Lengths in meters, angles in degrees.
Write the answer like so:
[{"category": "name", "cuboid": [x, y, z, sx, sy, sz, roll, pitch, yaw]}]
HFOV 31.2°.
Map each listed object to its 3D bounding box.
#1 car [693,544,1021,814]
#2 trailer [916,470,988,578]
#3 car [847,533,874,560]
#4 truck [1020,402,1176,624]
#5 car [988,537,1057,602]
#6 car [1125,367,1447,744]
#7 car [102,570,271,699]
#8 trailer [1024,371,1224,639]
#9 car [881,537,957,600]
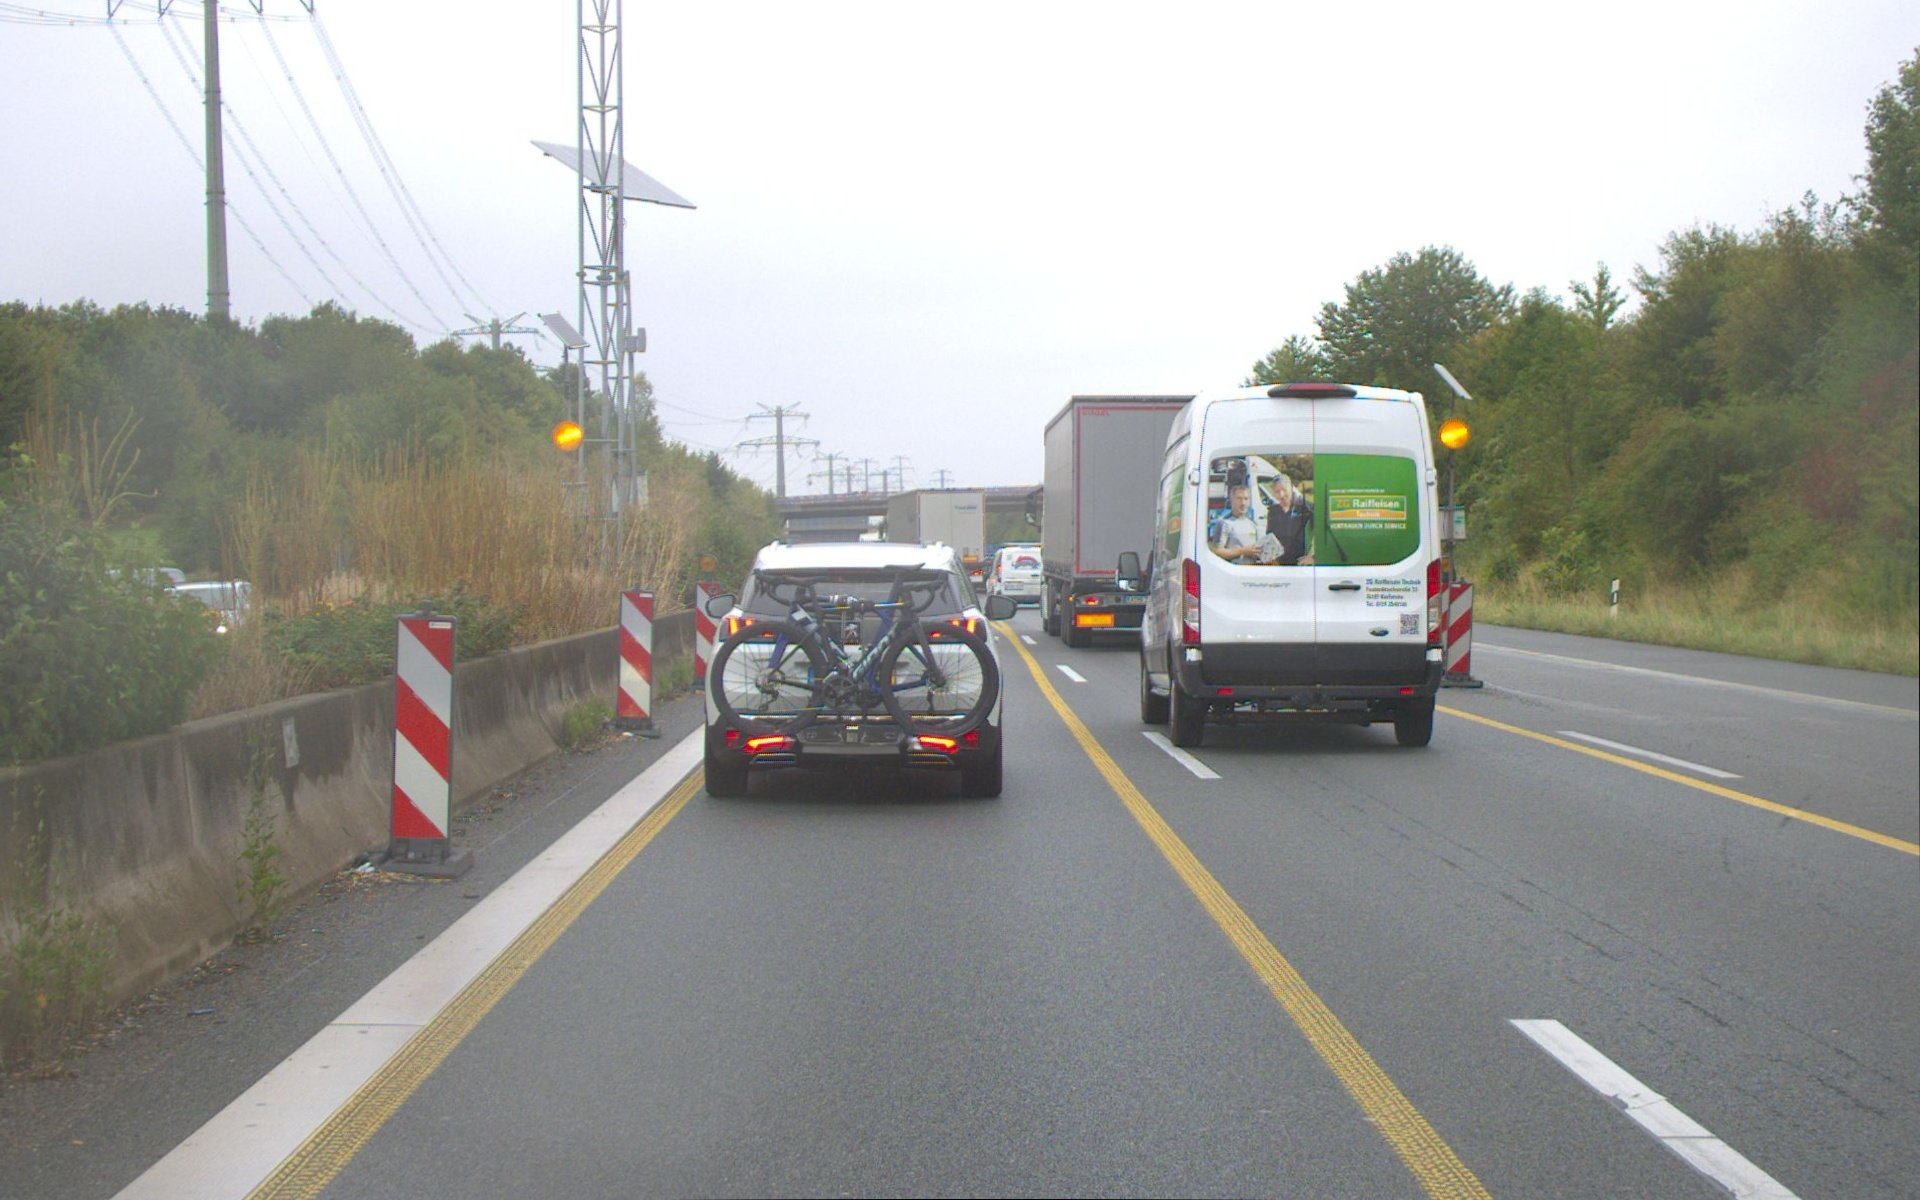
[{"category": "car", "cuboid": [-0.621, 0.408, 21.760, 1.850, 1.525, 4.769, 0, 1, -1]}, {"category": "trailer", "cuboid": [-0.390, -2.951, 136.266, 2.692, 4.062, 13.634, 0, 1, -1]}, {"category": "car", "cuboid": [-7.475, -4.005, 258.899, 1.931, 1.966, 4.001, 0, 2, -1]}, {"category": "truck", "cuboid": [2.621, -1.666, 66.735, 2.706, 4.124, 5.691, 0, 1, -1]}, {"category": "car", "cuboid": [1.790, -0.884, 99.261, 1.829, 1.833, 4.656, 0, 1, -1]}, {"category": "car", "cuboid": [2.547, -0.375, 28.248, 1.993, 2.773, 5.757, 0, 1, -1]}, {"category": "car", "cuboid": [-12.131, 0.508, 54.149, 1.732, 1.926, 4.161, 1, 0, 0]}, {"category": "trailer", "cuboid": [2.664, -1.569, 60.023, 2.706, 4.132, 13.733, 0, 1, -1]}, {"category": "car", "cuboid": [-1.039, -0.802, 85.844, 1.850, 1.525, 4.000, 0, 1, -1]}]
